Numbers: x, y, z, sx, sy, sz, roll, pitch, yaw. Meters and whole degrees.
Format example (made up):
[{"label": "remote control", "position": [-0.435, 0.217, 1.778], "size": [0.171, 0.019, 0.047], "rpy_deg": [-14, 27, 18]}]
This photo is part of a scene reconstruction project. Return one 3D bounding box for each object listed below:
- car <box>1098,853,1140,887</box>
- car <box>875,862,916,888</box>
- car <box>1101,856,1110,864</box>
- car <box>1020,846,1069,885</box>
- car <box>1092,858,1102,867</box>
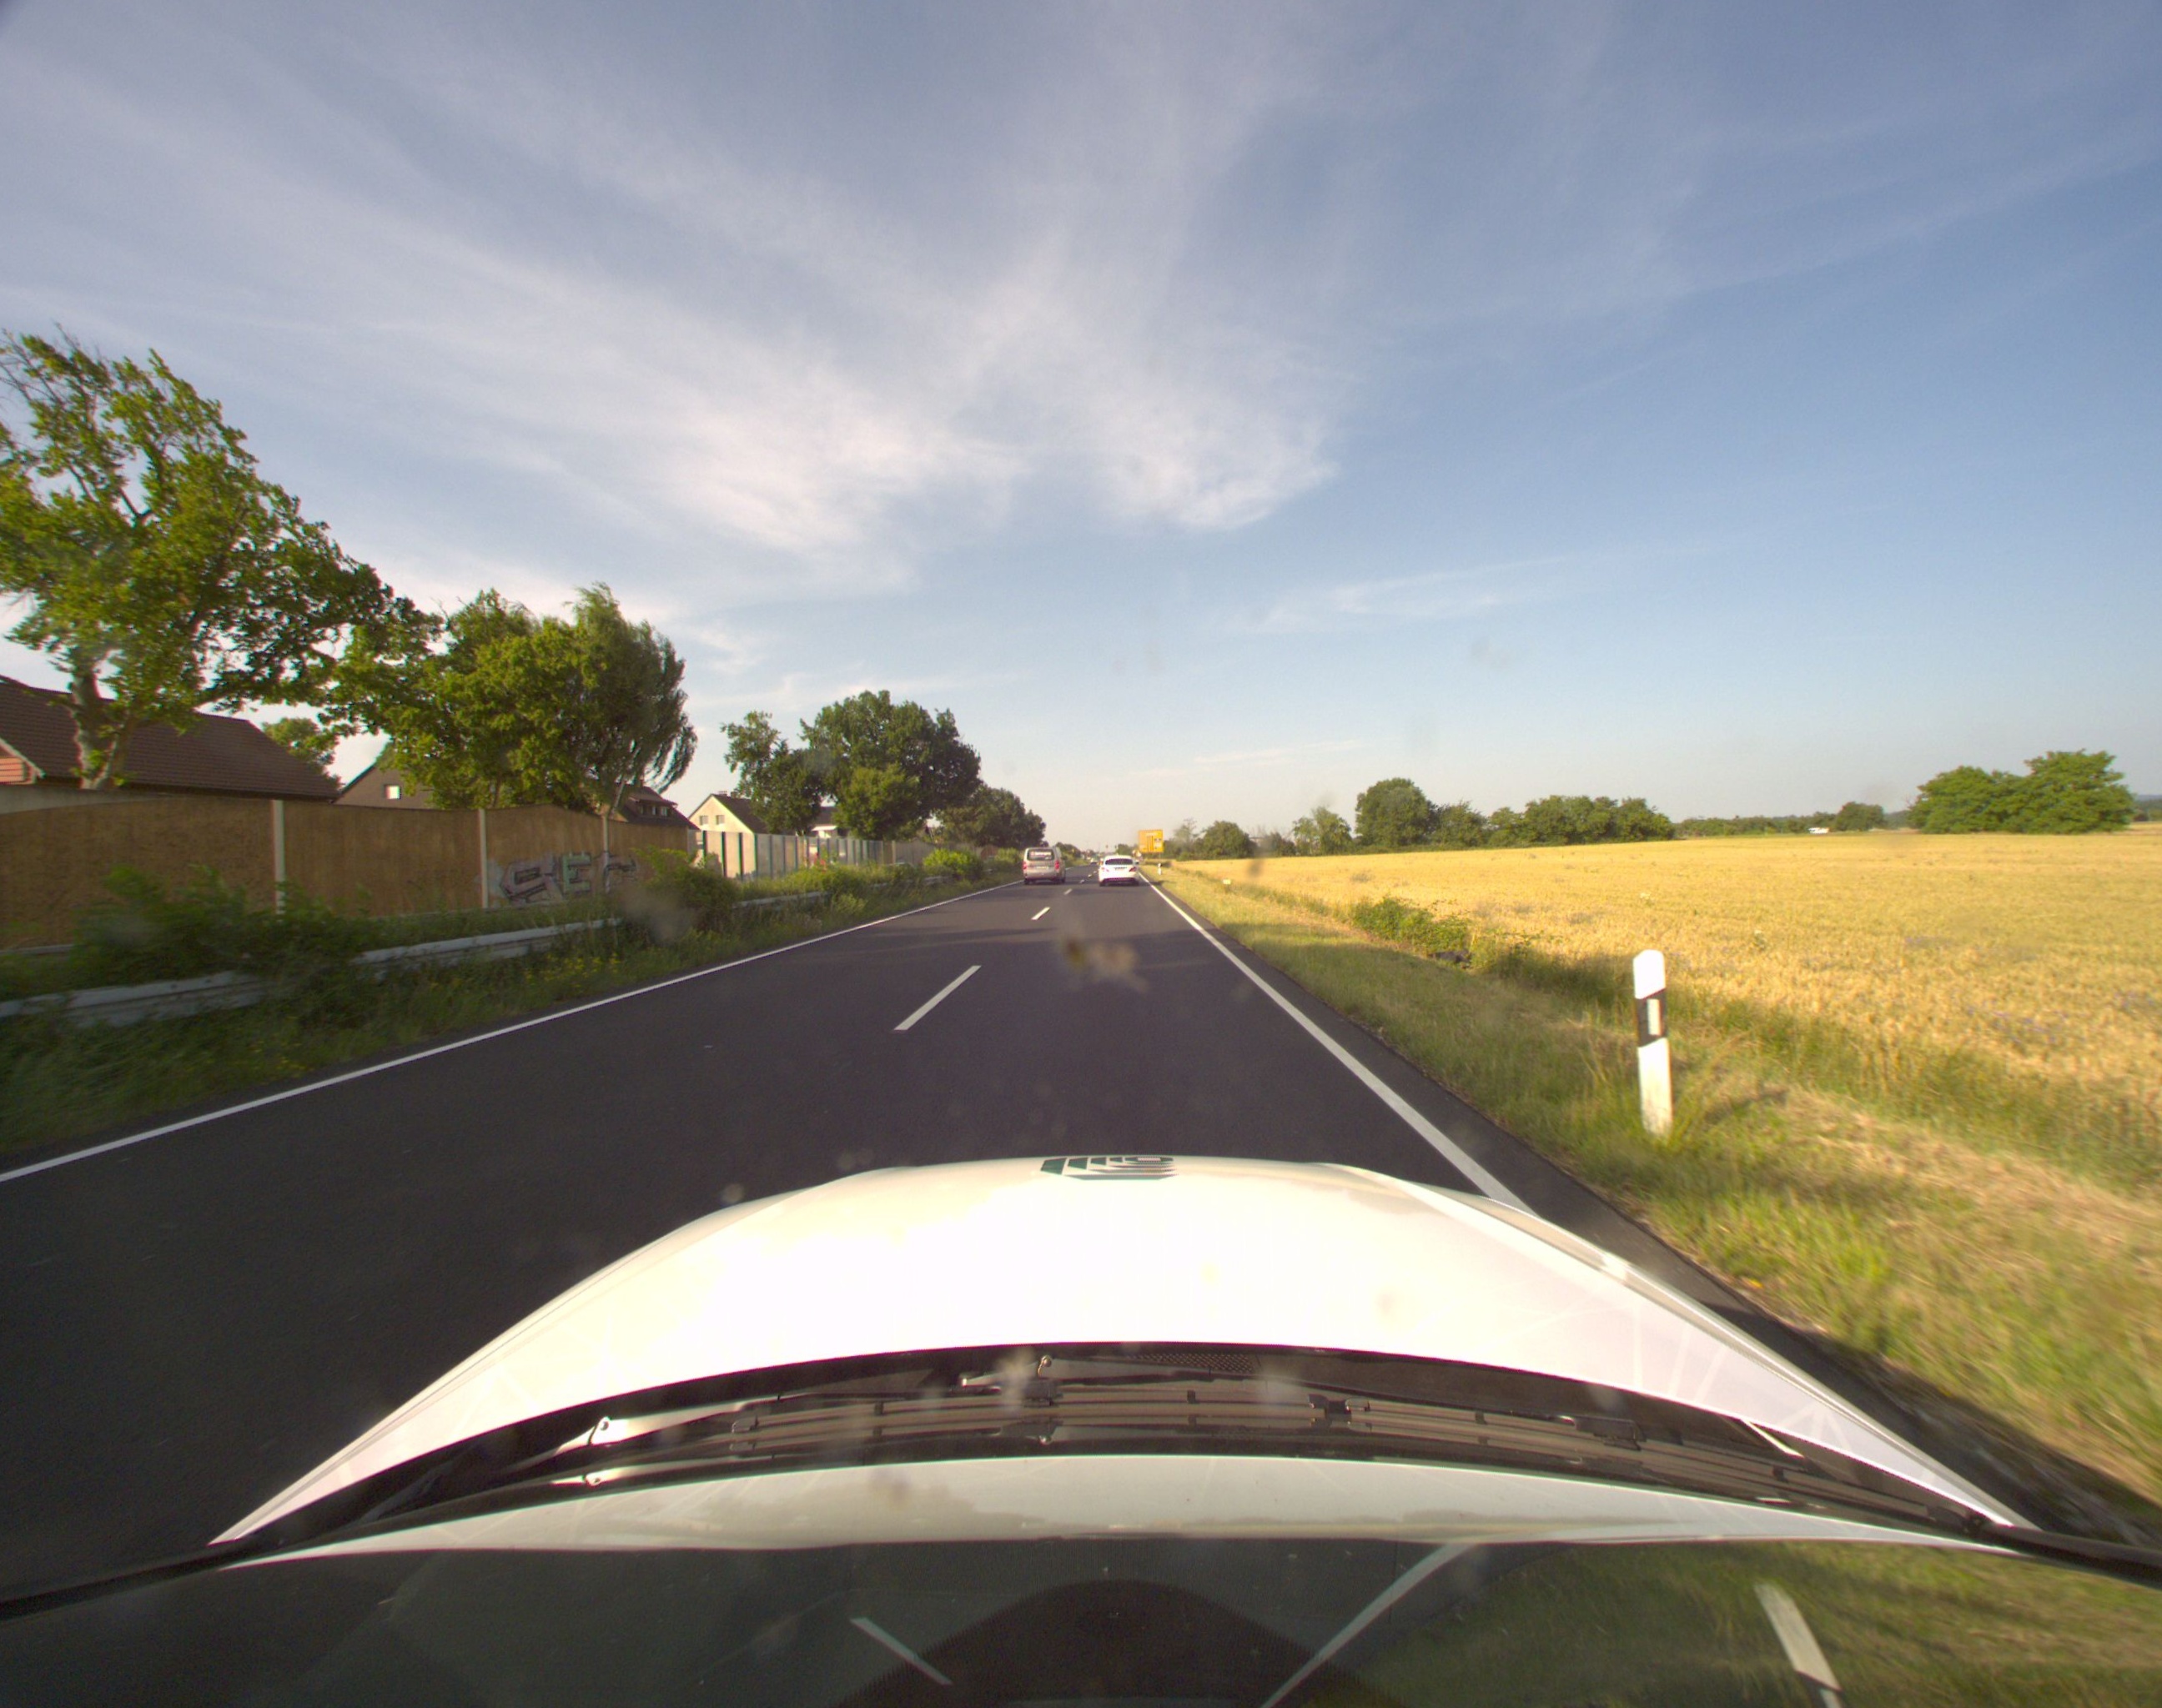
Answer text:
[{"label": "car", "position": [1.815, 0.737, 38.956], "size": [1.887, 1.509, 4.002], "rpy_deg": [-1, -1, 2]}, {"label": "car", "position": [-12.386, 1.364, 54.549], "size": [1.800, 1.662, 3.337], "rpy_deg": [0, -1, 2]}, {"label": "car", "position": [5.060, 1.160, 169.605], "size": [1.871, 1.651, 3.664], "rpy_deg": [0, -1, 1]}, {"label": "car", "position": [-1.835, 0.573, 42.264], "size": [2.017, 1.892, 4.962], "rpy_deg": [0, 0, 3]}, {"label": "car", "position": [2.810, 1.493, 141.035], "size": [1.710, 1.492, 3.587], "rpy_deg": [0, -1, 3]}]
